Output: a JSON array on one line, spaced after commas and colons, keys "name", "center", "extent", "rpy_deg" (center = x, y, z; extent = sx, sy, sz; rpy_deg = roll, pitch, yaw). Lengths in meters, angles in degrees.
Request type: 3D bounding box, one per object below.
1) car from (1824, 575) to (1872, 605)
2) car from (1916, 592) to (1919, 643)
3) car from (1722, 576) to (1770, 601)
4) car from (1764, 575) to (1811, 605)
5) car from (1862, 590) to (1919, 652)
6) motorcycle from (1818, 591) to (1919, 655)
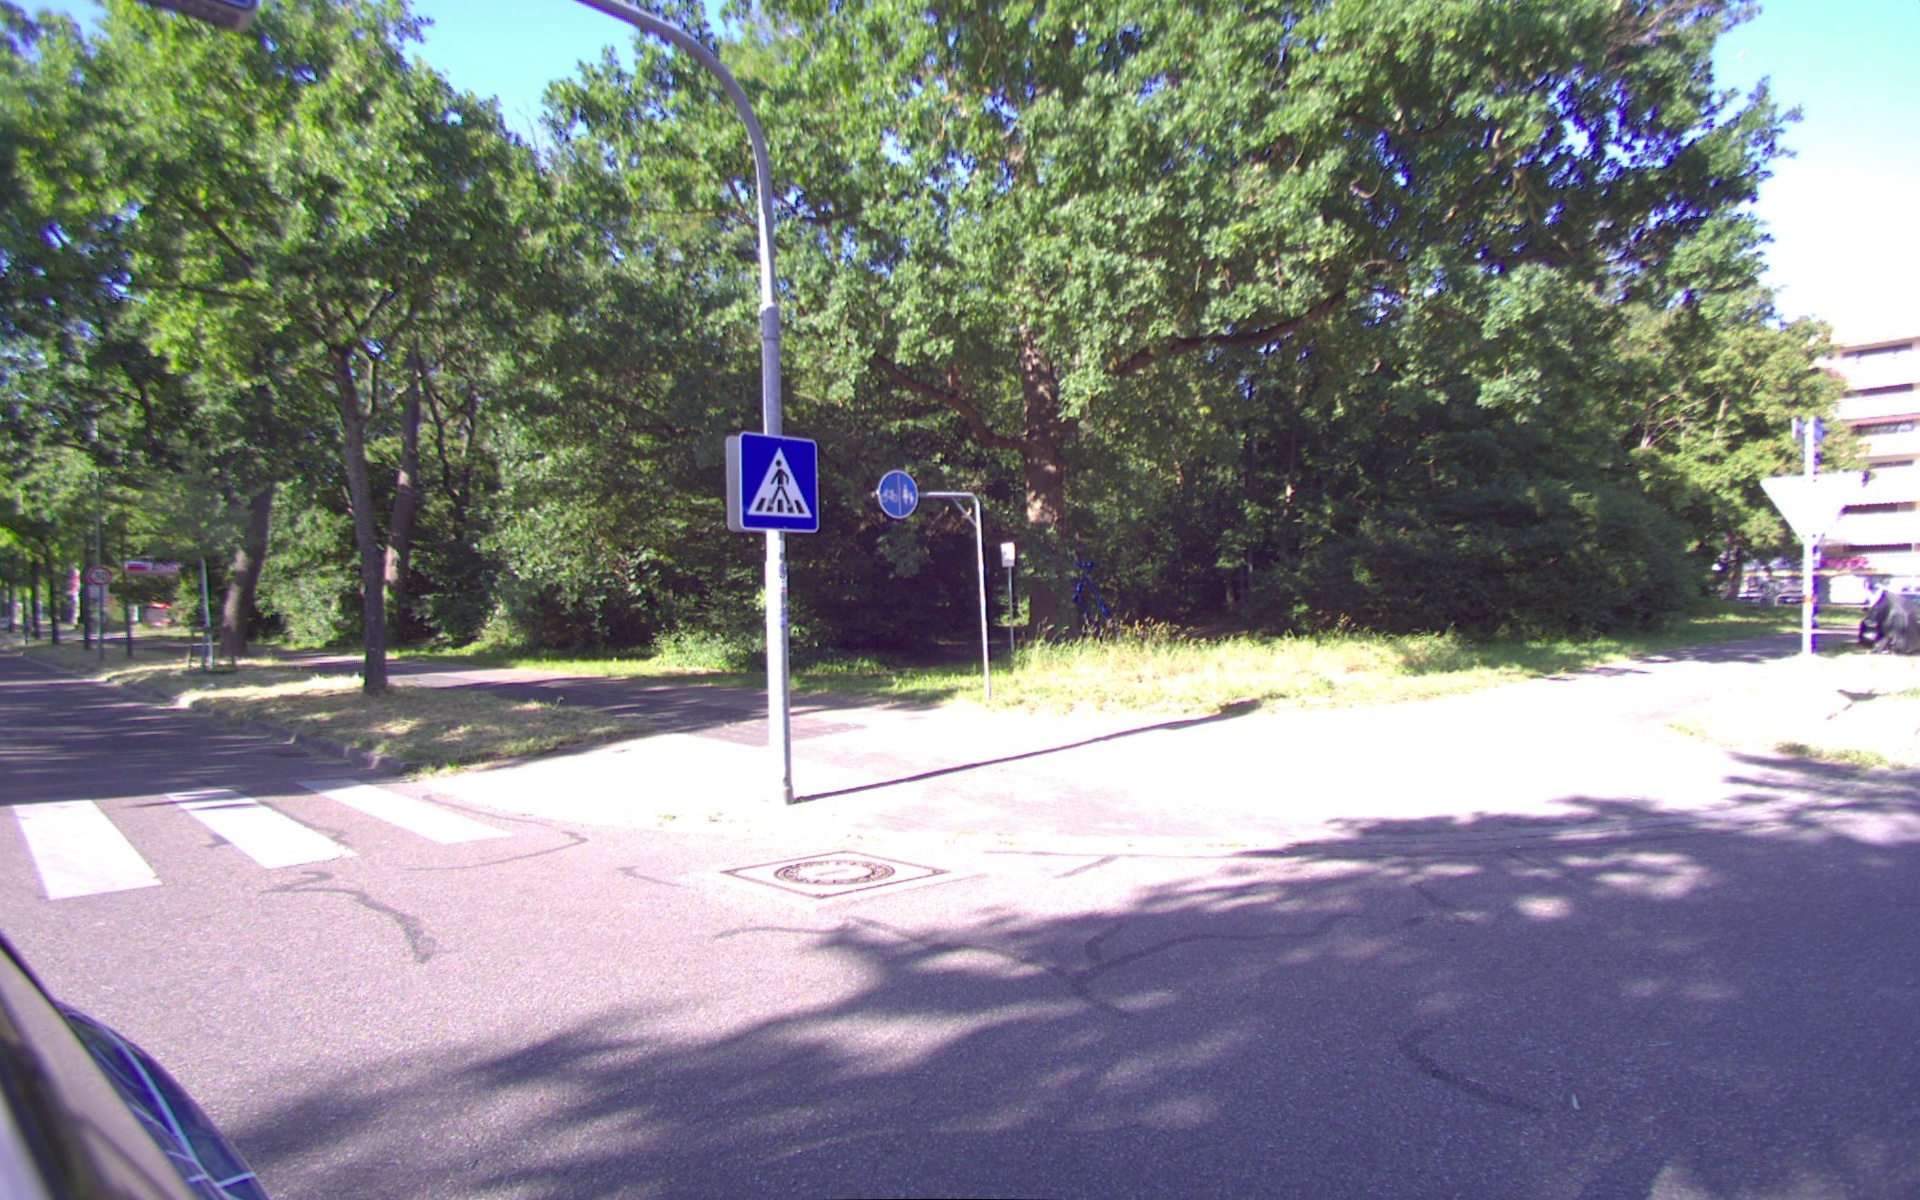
[{"name": "car", "center": [54.044, -0.633, 61.596], "extent": [3.778, 1.757, 1.765], "rpy_deg": [-1, 0, -43]}, {"name": "car", "center": [28.672, 0.446, 29.010], "extent": [3.534, 1.402, 1.561], "rpy_deg": [-1, 0, -43]}, {"name": "car", "center": [50.693, -0.748, 65.256], "extent": [3.778, 1.538, 1.802], "rpy_deg": [-1, 0, -43]}, {"name": "car", "center": [52.379, -0.644, 64.007], "extent": [3.778, 1.757, 1.765], "rpy_deg": [-1, 0, -43]}, {"name": "car", "center": [23.492, 0.471, 24.910], "extent": [3.534, 1.402, 1.561], "rpy_deg": [-1, 0, -43]}, {"name": "motorcycle", "center": [20.224, 0.510, 22.235], "extent": [1.944, 1.354, 0.672], "rpy_deg": [-1, 0, 17]}]
